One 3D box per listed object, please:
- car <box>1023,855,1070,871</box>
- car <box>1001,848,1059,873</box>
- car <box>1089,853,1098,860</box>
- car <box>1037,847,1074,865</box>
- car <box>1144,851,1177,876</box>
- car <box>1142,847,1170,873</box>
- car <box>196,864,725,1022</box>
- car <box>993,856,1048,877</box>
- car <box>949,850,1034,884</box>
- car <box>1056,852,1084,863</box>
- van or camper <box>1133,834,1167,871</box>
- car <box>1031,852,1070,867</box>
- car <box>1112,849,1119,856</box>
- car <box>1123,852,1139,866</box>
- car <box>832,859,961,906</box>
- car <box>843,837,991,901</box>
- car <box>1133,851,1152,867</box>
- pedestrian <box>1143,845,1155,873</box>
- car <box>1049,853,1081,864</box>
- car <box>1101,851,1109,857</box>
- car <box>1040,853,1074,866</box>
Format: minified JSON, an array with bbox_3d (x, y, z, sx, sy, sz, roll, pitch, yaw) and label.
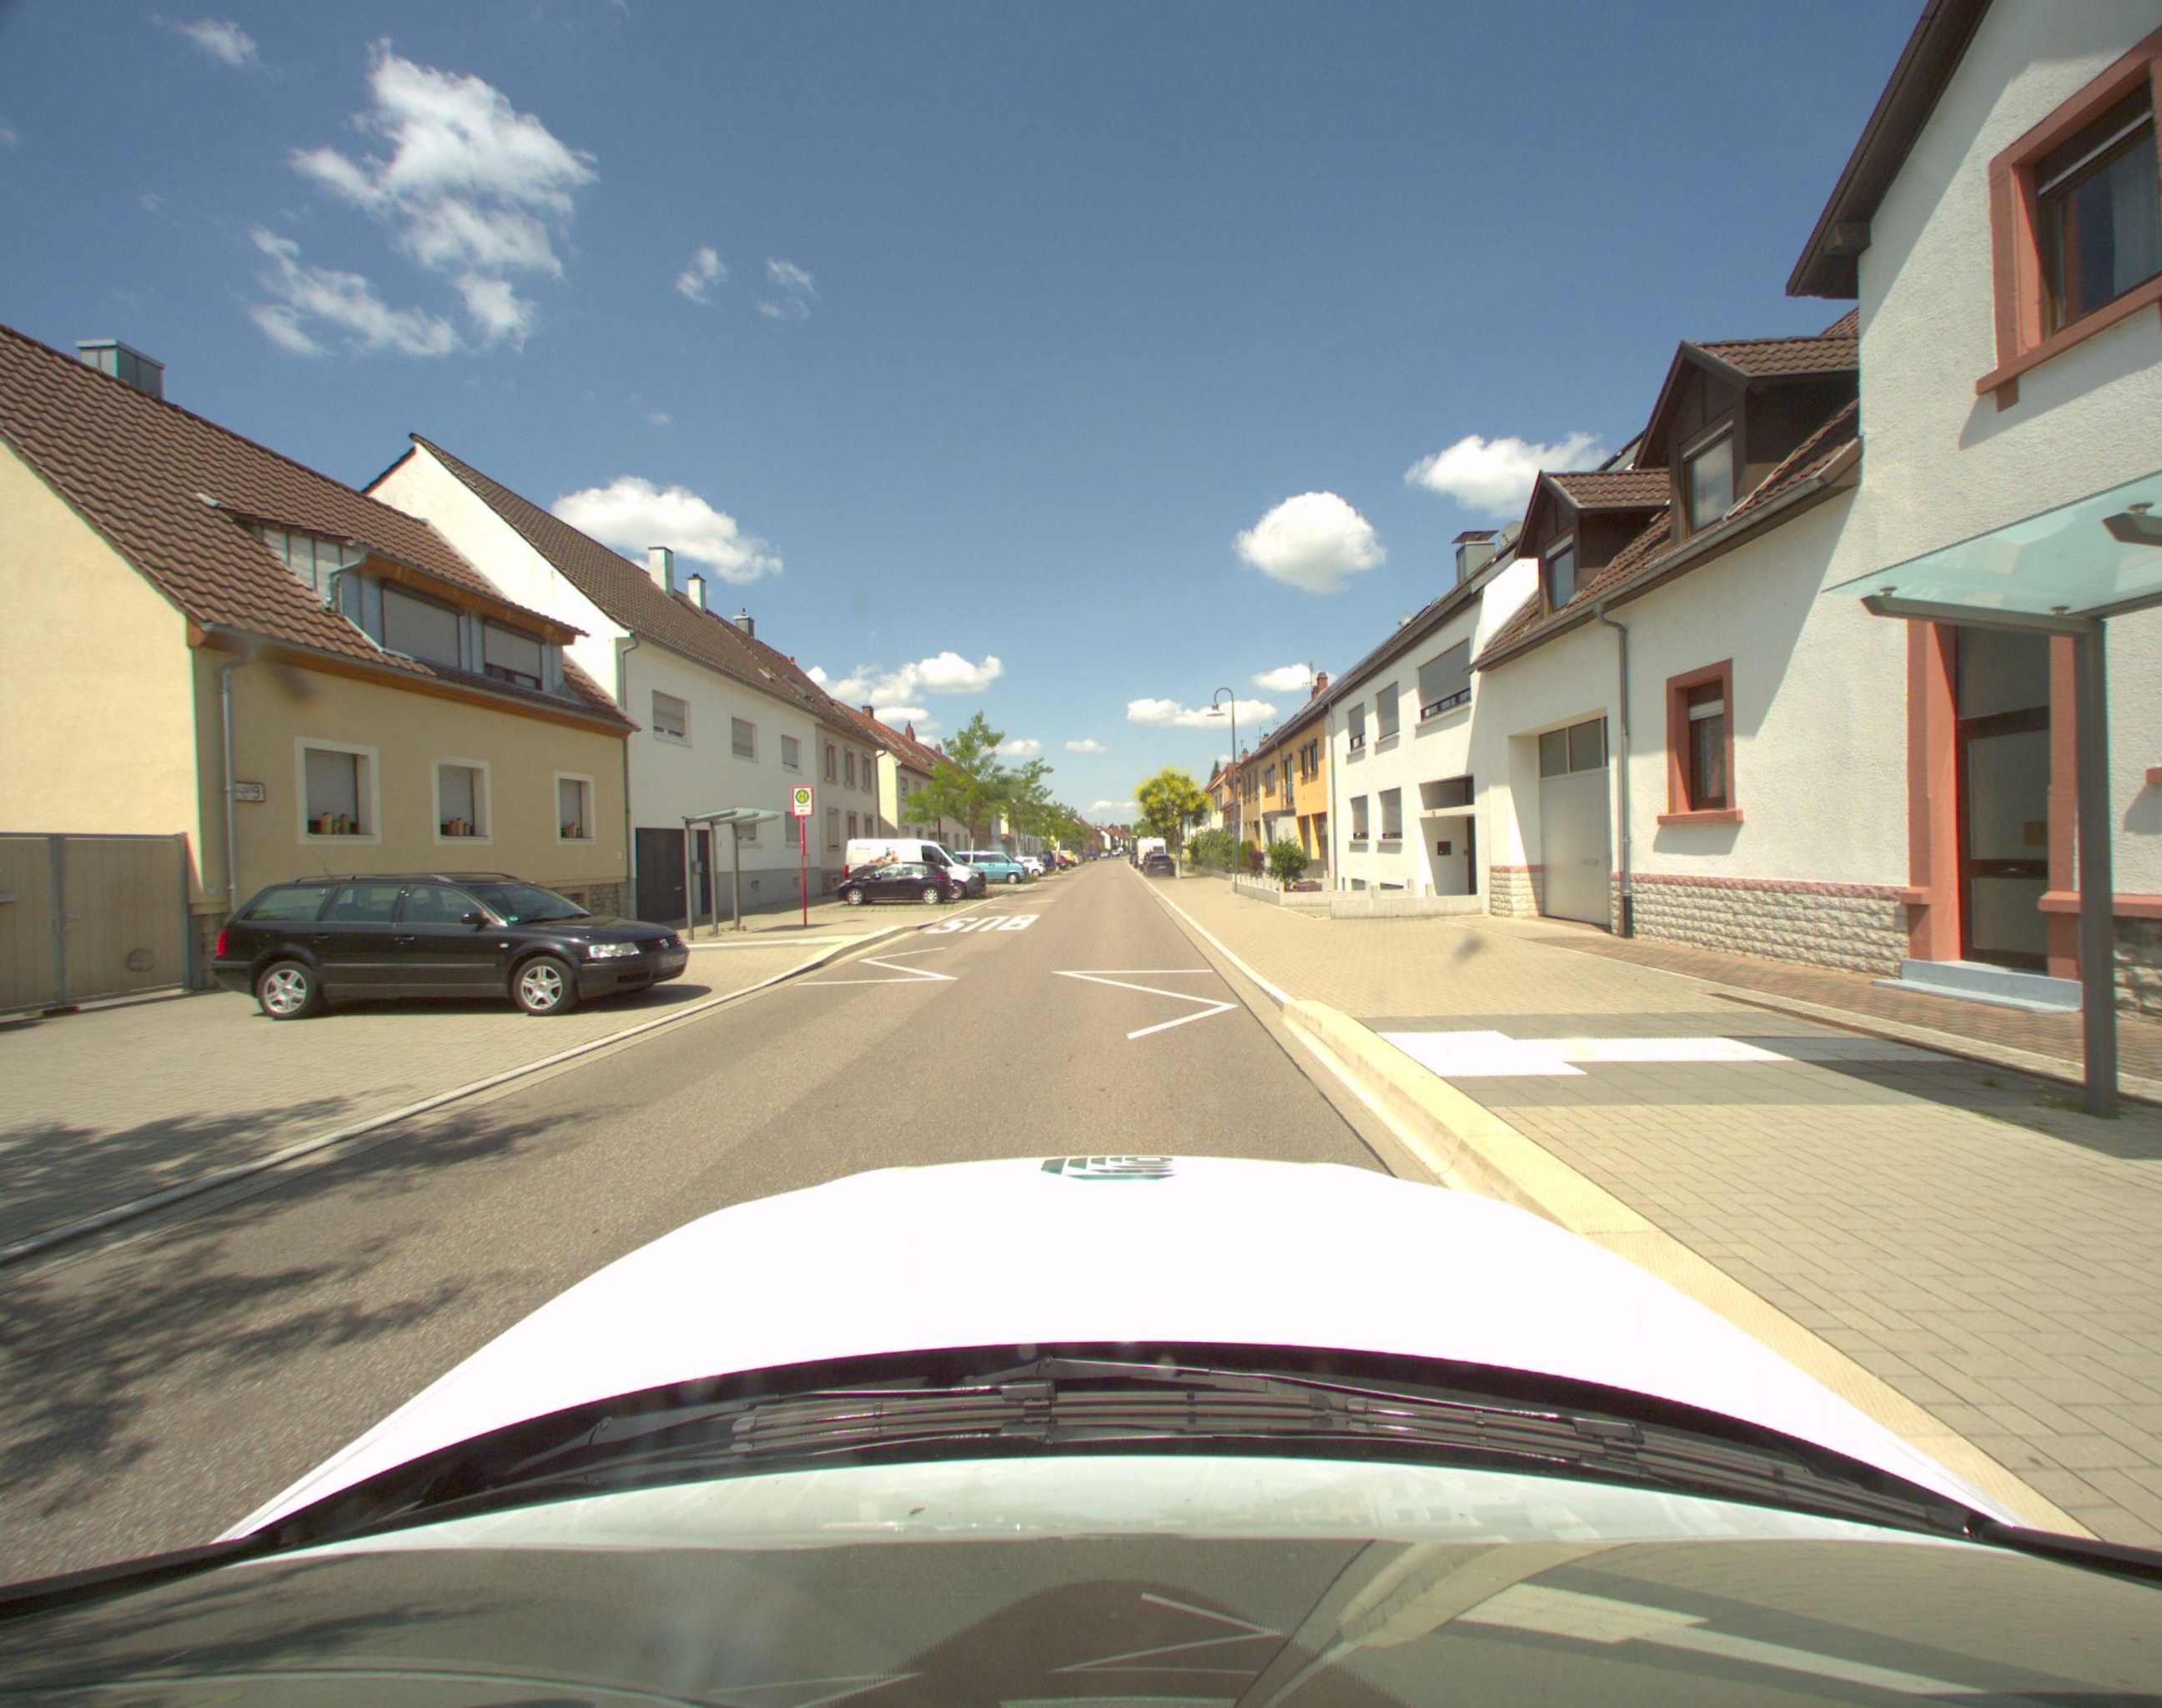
[{"bbox_3d":[-3.398,0.887,80.907,4.506,1.425,1.797,-1,0,2],"label":"car"},{"bbox_3d":[-4.269,0.509,68.485,4.592,1.996,1.955,-1,0,4],"label":"car"},{"bbox_3d":[2.504,0.490,169.075,1.810,1.433,4.139,2,1,0],"label":"car"},{"bbox_3d":[-3.208,0.298,101.988,4.490,2.177,1.926,-1,0,2],"label":"car"},{"bbox_3d":[5.018,0.587,51.954,1.760,1.488,4.297,-2,0,1],"label":"car"},{"bbox_3d":[5.240,0.408,57.482,1.759,1.705,4.328,-2,0,3],"label":"car"},{"bbox_3d":[-6.781,0.929,9.273,4.569,1.517,1.903,-1,0,2],"label":"car"},{"bbox_3d":[-4.507,0.939,61.262,3.898,1.488,1.775,-1,0,4],"label":"car"},{"bbox_3d":[-5.169,0.742,47.396,4.657,1.907,2.001,0,-1,3],"label":"car"},{"bbox_3d":[-1.609,0.549,121.341,4.171,1.568,1.773,0,-1,-1],"label":"car"},{"bbox_3d":[5.727,-0.164,68.052,2.463,2.810,5.794,-3,0,2],"label":"van or camper"},{"bbox_3d":[-3.506,0.622,94.037,4.237,1.611,1.843,-1,0,1],"label":"car"},{"bbox_3d":[9.539,-0.405,224.731,2.015,1.950,4.900,-2,-1,2],"label":"car"},{"bbox_3d":[6.773,0.660,110.041,1.855,1.635,4.452,-4,1,5],"label":"car"},{"bbox_3d":[-6.317,0.958,28.148,3.974,1.445,1.901,-1,0,-1],"label":"car"},{"bbox_3d":[-6.147,0.548,31.055,5.149,2.288,2.157,0,0,0],"label":"car"},{"bbox_3d":[6.236,0.492,82.841,1.759,1.529,4.010,-2,0,3],"label":"car"},{"bbox_3d":[4.577,0.362,54.859,0.713,1.853,0.578,-2,0,2],"label":"pedestrian"},{"bbox_3d":[-2.277,0.615,114.476,4.276,1.468,1.776,-1,-1,4],"label":"car"},{"bbox_3d":[6.451,0.084,217.909,1.841,1.659,4.006,0,0,5],"label":"car"},{"bbox_3d":[-2.868,0.656,99.488,3.994,1.459,1.756,-1,0,2],"label":"car"}]
